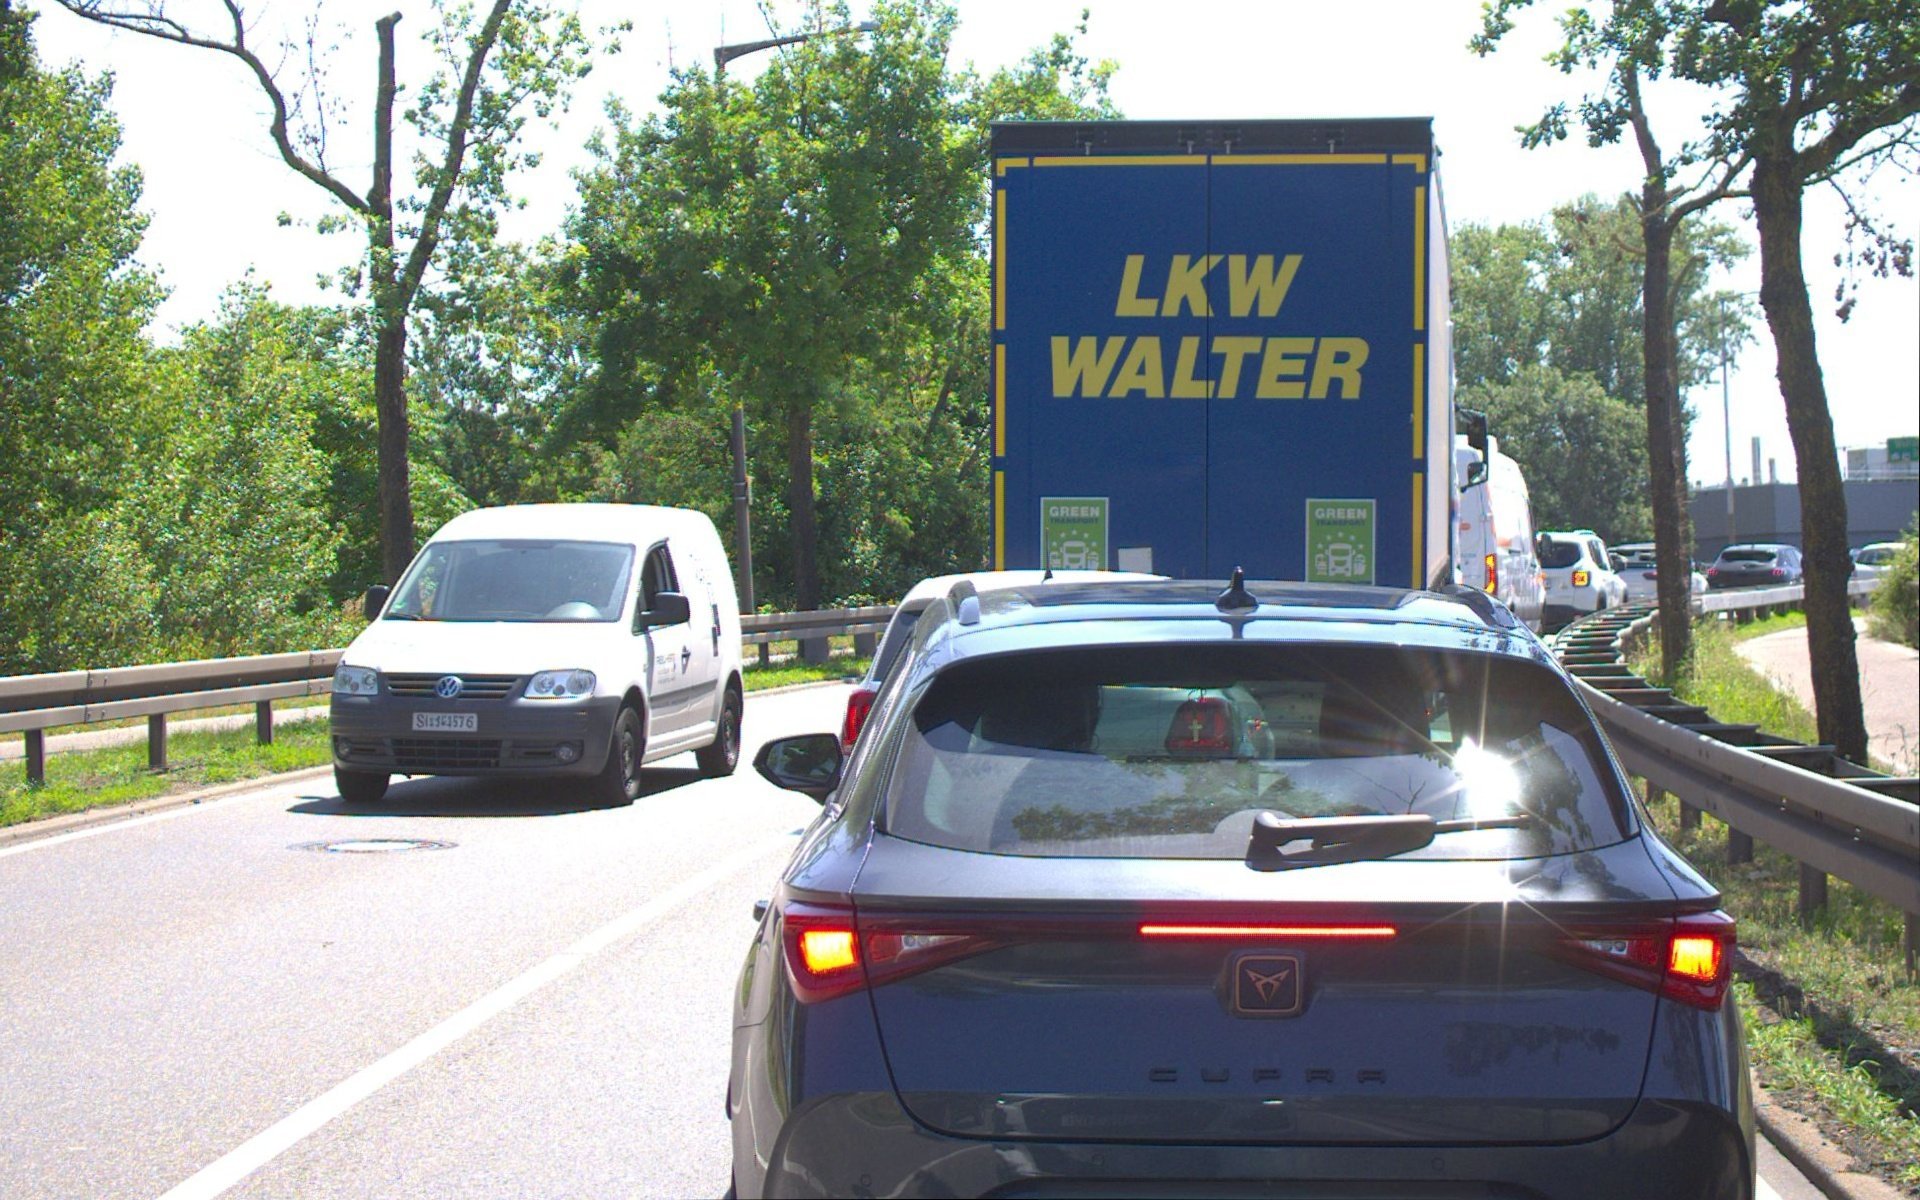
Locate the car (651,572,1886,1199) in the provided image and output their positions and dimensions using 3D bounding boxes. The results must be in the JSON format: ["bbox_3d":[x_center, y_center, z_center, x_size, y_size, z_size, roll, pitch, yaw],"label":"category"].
[{"bbox_3d":[0.462,0.678,6.831,1.744,1.427,3.880,1,1,1],"label":"car"}]

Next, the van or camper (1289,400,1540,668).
[{"bbox_3d":[5.589,-0.787,41.517,2.468,2.988,6.083,1,1,12],"label":"van or camper"}]

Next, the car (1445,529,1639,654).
[{"bbox_3d":[8.486,-0.151,49.816,1.995,1.706,4.615,1,1,20],"label":"car"}]

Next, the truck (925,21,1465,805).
[{"bbox_3d":[2.546,-1.182,27.978,2.951,4.433,16.792,1,1,9],"label":"truck"}]

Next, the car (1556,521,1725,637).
[{"bbox_3d":[11.242,-0.361,56.541,1.995,1.802,4.841,1,1,20],"label":"car"}]

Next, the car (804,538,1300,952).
[{"bbox_3d":[0.356,0.505,14.650,1.809,1.503,4.000,1,1,1],"label":"car"}]

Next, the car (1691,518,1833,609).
[{"bbox_3d":[15.848,-0.730,67.776,1.996,1.711,4.863,1,1,22],"label":"car"}]

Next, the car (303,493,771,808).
[{"bbox_3d":[-2.526,0.251,21.641,1.746,1.757,4.387,1,1,9],"label":"car"}]

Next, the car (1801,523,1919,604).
[{"bbox_3d":[20.568,-0.833,78.273,1.996,1.762,4.749,1,1,23],"label":"car"}]

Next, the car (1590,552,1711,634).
[{"bbox_3d":[15.426,-0.179,76.649,1.748,1.757,4.431,1,1,23],"label":"car"}]
